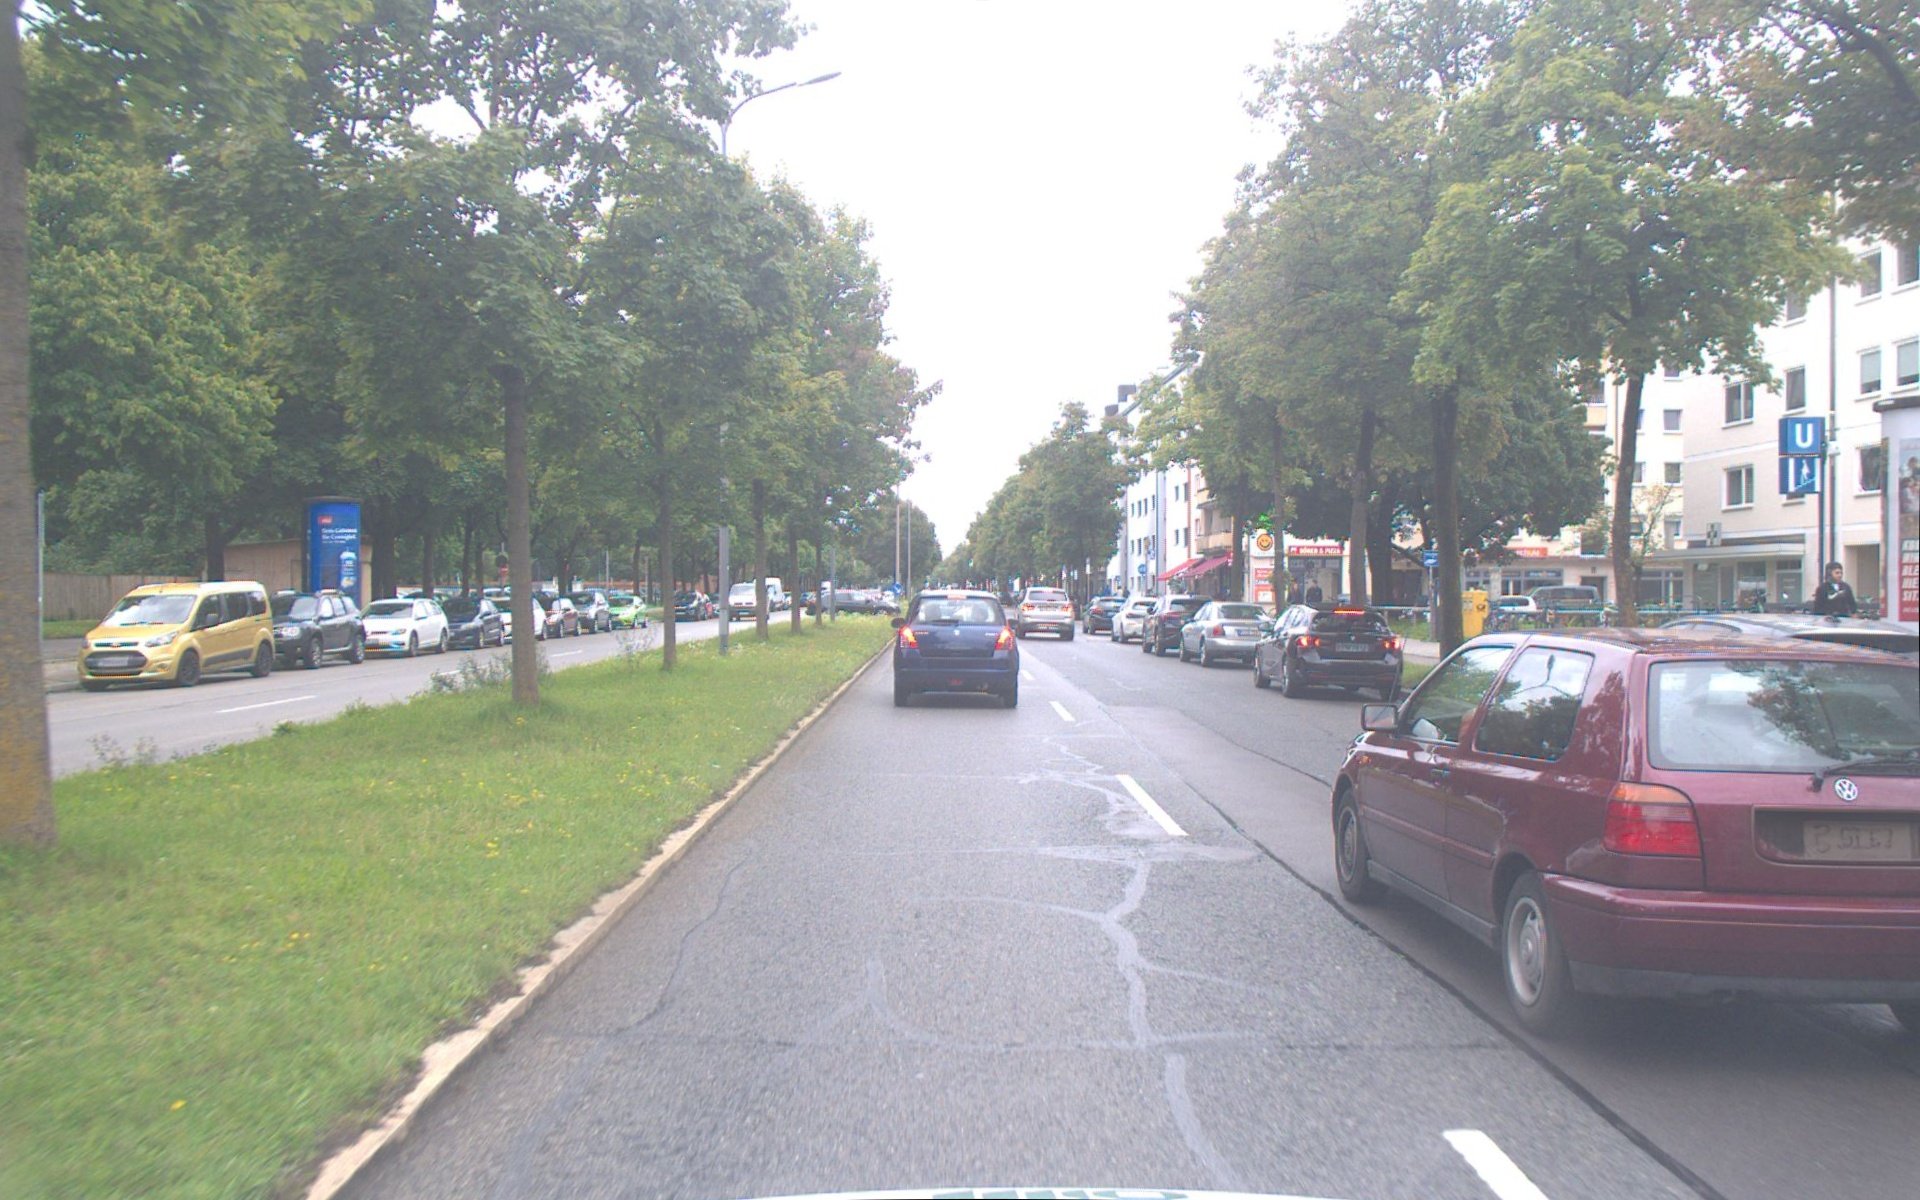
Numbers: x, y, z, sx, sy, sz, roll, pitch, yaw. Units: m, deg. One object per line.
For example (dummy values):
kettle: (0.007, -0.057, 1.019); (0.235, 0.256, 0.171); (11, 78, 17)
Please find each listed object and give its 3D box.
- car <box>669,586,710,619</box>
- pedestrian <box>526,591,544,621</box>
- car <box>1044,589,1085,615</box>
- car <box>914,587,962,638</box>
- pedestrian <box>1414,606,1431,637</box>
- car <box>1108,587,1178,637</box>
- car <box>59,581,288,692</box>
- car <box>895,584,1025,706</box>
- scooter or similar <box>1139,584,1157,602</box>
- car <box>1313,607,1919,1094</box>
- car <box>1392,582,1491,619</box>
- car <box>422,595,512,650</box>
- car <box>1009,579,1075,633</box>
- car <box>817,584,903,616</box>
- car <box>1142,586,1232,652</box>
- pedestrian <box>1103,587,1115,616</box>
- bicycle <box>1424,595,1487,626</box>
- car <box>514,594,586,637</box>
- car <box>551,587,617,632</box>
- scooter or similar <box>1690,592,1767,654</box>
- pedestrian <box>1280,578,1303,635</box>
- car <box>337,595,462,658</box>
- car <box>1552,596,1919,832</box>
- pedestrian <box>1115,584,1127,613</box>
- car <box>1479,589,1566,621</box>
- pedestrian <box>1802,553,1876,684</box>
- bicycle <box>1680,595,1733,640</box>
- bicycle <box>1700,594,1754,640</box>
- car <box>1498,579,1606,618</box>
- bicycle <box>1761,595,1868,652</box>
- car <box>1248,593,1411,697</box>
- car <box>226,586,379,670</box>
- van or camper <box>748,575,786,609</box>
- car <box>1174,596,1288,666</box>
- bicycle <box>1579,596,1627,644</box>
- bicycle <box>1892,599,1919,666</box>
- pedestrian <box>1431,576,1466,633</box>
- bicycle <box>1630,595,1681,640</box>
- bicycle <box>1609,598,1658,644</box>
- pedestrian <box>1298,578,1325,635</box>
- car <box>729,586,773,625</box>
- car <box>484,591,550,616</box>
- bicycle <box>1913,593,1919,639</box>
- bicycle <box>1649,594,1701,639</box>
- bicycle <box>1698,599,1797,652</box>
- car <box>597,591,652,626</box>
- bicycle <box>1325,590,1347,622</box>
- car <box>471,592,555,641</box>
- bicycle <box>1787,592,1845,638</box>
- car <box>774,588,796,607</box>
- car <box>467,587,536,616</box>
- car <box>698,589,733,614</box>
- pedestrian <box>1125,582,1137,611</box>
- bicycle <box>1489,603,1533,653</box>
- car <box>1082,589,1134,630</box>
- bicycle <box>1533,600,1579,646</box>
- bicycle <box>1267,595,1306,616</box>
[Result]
car: (-14.731, 0.132, 90.279); (1.682, 1.771, 3.878); (1, 0, -1)
pedestrian: (-22.300, 0.313, 86.747); (0.712, 1.561, 0.721); (1, 0, 0)
car: (5.918, 0.100, 94.296); (1.828, 1.442, 4.221); (0, 1, -4)
car: (-0.692, 0.361, 50.613); (1.415, 1.509, 3.105); (0, 1, -2)
pedestrian: (14.196, 0.657, 50.771); (0.399, 0.966, 0.435); (-1, 0, -2)
car: (5.847, 0.351, 53.216); (1.648, 1.491, 4.136); (2, 0, -1)
car: (-14.131, 0.588, 30.066); (1.777, 1.814, 4.818); (-2, 1, 0)
car: (-0.056, 0.556, 23.025); (1.648, 1.528, 3.918); (0, 1, -2)
scooter or similar: (13.726, -0.507, 120.855); (1.011, 1.330, 2.755); (0, 0, 0)
car: (2.785, 0.775, 6.959); (1.648, 1.408, 3.918); (1, 0, -2)
car: (23.504, 0.015, 80.832); (4.306, 1.690, 1.870); (-1, 0, -4)
car: (-14.257, 0.622, 48.039); (1.581, 1.442, 3.896); (-2, 1, -3)
car: (2.691, 0.176, 54.896); (1.828, 1.690, 4.406); (1, 1, -2)
car: (-4.806, -0.006, 79.484); (4.043, 1.494, 1.837); (0, 0, -7)
car: (5.832, 0.448, 42.914); (1.682, 1.560, 4.275); (1, 1, 0)
pedestrian: (10.714, 0.107, 118.785); (0.778, 2.049, 1.006); (0, 0, 0)
bicycle: (15.745, 0.329, 52.584); (1.838, 0.956, 0.558); (1, 0, 1)
car: (-14.594, 0.525, 59.020); (1.558, 1.421, 3.631); (-2, 1, 1)
car: (-14.685, 0.343, 64.806); (1.656, 1.614, 4.370); (-2, 1, -1)
scooter or similar: (15.355, 0.452, 33.064); (0.355, 1.221, 1.369); (-1, 0, -42)
pedestrian: (11.384, 0.225, 56.882); (0.576, 1.923, 0.902); (-1, 0, -2)
car: (-14.426, 0.642, 42.841); (1.727, 1.475, 4.532); (-2, 1, -1)
car: (6.173, 0.748, 12.895); (1.647, 1.491, 4.115); (1, 1, 0)
pedestrian: (11.546, -0.108, 118.855); (0.778, 2.049, 1.006); (0, 0, 0)
car: (26.612, 0.228, 78.301); (3.478, 1.442, 1.870); (0, 1, -4)
pedestrian: (12.314, 0.245, 23.185); (0.625, 1.780, 0.850); (-2, 1, 7)
bicycle: (17.897, 0.408, 39.673); (0.422, 1.046, 1.884); (-1, 1, 0)
bicycle: (18.374, 0.388, 39.637); (0.422, 1.046, 1.884); (-1, 1, 0)
car: (28.891, -0.068, 80.798); (4.640, 1.804, 1.871); (-1, 0, -2)
bicycle: (16.231, 0.438, 31.439); (1.840, 1.046, 0.432); (-1, 0, -4)
car: (5.898, 0.662, 26.830); (1.714, 1.491, 4.176); (1, 1, 0)
car: (-14.390, 0.561, 36.452); (1.701, 1.674, 4.255); (-2, 1, -1)
van or camper: (-15.332, -0.629, 131.929); (2.073, 2.525, 7.449); (1, 0, 0)
car: (6.006, 0.655, 37.097); (1.603, 1.410, 4.241); (1, 1, -3)
bicycle: (15.448, 0.468, 39.757); (0.422, 1.120, 1.884); (-1, 1, 0)
bicycle: (15.926, 0.508, 26.516); (1.842, 1.046, 0.432); (-1, 0, -9)
pedestrian: (14.938, 0.137, 50.586); (0.821, 1.710, 0.834); (-1, 0, -2)
bicycle: (16.672, 0.404, 39.663); (0.422, 1.046, 1.884); (-1, 1, 0)
bicycle: (16.135, 0.496, 39.670); (0.422, 1.046, 1.884); (-1, 1, 0)
pedestrian: (12.082, 0.218, 56.888); (0.714, 1.923, 0.919); (-1, 0, -2)
car: (-11.089, 0.266, 87.984); (1.763, 1.967, 4.993); (-1, 0, -1)
car: (-28.095, 0.211, 105.019); (3.792, 1.471, 1.670); (1, 0, -6)
bicycle: (22.272, 0.380, 37.350); (0.422, 1.046, 1.884); (-1, 1, 0)
bicycle: (17.145, 0.386, 39.700); (0.422, 1.046, 1.884); (-1, 1, 0)
bicycle: (16.092, 0.516, 33.801); (1.840, 1.046, 0.432); (-1, 0, -4)
car: (-14.774, 0.351, 72.994); (1.515, 1.434, 3.880); (-2, 1, 2)
bicycle: (13.364, 0.217, 58.808); (0.373, 1.122, 1.883); (1, 0, 0)
car: (-14.524, 0.518, 53.962); (1.574, 1.469, 4.279); (-2, 1, 0)
bicycle: (20.469, 0.339, 39.591); (0.422, 1.046, 1.884); (-1, 1, 0)
car: (-15.322, -0.241, 144.964); (1.599, 1.610, 3.878); (1, 0, -1)
car: (-28.358, 0.074, 102.444); (3.843, 1.748, 1.670); (1, 0, -6)
car: (-14.858, 0.102, 100.692); (1.633, 1.471, 3.878); (1, 0, -1)
pedestrian: (12.362, -0.260, 119.359); (0.778, 2.049, 1.006); (0, 0, 0)
bicycle: (13.272, 0.659, 39.881); (0.422, 1.153, 1.884); (-1, 1, 0)
car: (5.664, 0.345, 63.770); (1.584, 1.491, 3.674); (2, 0, -1)
bicycle: (14.302, 0.529, 39.731); (0.422, 1.046, 1.884); (-1, 1, 0)
bicycle: (16.310, 0.272, 82.720); (1.810, 0.974, 0.557); (1, 0, -2)
